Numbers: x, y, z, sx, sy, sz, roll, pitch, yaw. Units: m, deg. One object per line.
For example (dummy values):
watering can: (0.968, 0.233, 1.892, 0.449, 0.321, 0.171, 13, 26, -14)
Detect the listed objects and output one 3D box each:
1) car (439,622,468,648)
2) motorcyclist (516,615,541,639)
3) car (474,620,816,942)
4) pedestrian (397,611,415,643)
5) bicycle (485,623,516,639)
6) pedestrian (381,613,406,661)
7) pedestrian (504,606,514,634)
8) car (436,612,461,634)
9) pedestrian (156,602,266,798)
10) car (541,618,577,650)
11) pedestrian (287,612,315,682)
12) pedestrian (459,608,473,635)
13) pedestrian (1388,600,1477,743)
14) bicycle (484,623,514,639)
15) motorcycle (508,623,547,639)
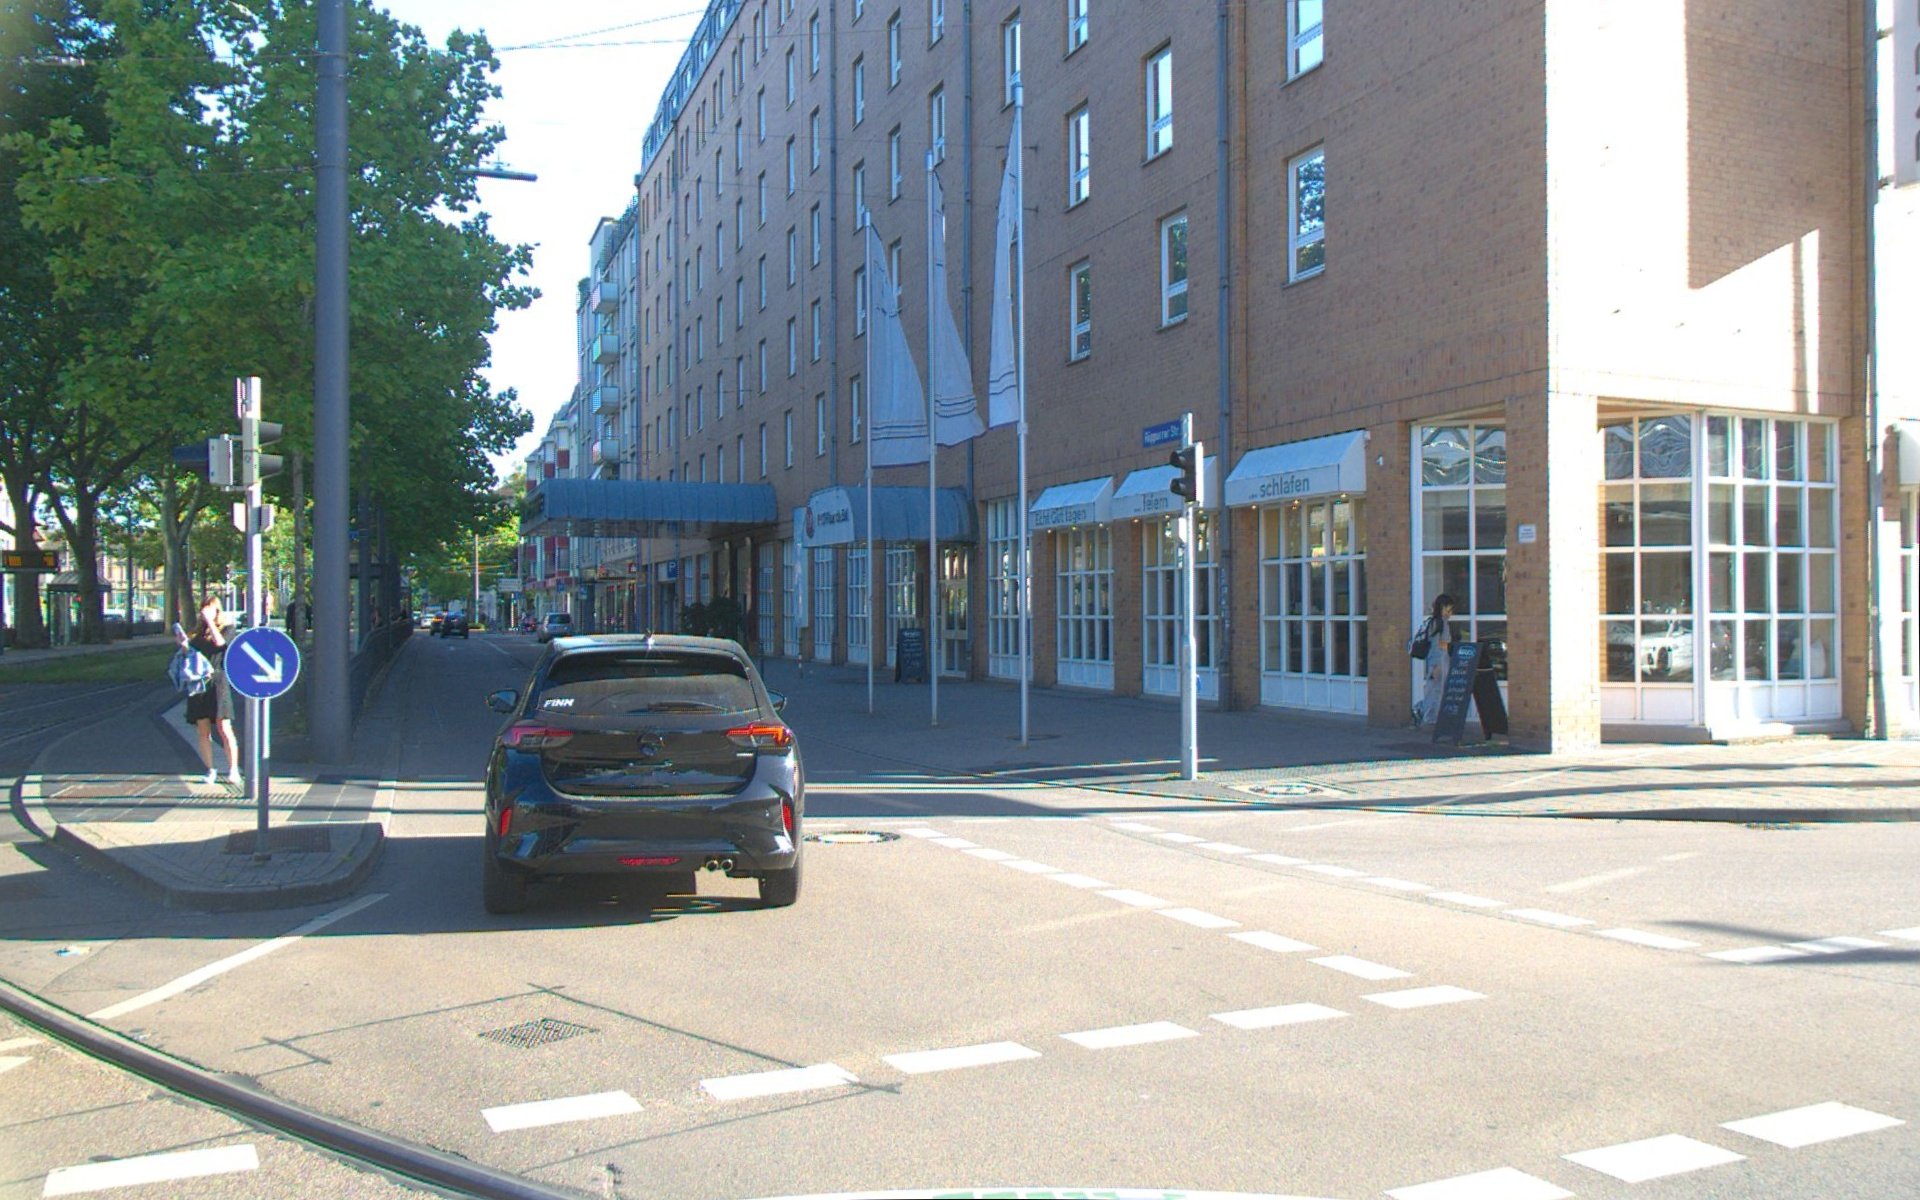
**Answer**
car: (-30.755, 2.137, 100.378, 1.589, 1.528, 3.670, 1, -1, -19)
motorcyclist: (-31.587, 1.945, 121.092, 1.215, 1.728, 1.301, 0, -1, 42)
car: (-1.852, 0.895, 9.923, 1.641, 1.528, 3.681, 0, -1, -10)
pedestrian: (-25.460, 1.232, 75.985, 0.712, 1.470, 0.622, 1, -1, -22)
bicycle: (-37.131, 2.511, 133.657, 2.318, 1.255, 0.680, 1, -1, -17)
pedestrian: (-17.780, 1.160, 51.920, 0.712, 1.470, 0.622, 1, -1, -22)
pedestrian: (-48.170, 2.134, 176.573, 0.903, 2.922, 1.144, 1, -1, -19)
car: (-36.861, 1.665, 119.157, 1.589, 1.528, 3.670, 1, -1, -19)
pedestrian: (-6.801, 0.886, 15.051, 0.701, 1.709, 0.829, -1, -1, -10)
car: (-21.674, 1.816, 89.268, 1.645, 1.681, 3.672, 1, -1, -17)
pedestrian: (-16.361, 1.163, 41.070, 0.595, 1.709, 0.484, -1, -1, -19)
pedestrian: (-54.443, 2.367, 182.410, 0.902, 2.922, 1.145, -1, -1, 38)
pedestrian: (5.740, 0.855, 20.095, 0.729, 1.695, 0.748, 0, -1, -23)
bicycle: (-36.791, 2.471, 131.927, 2.318, 1.255, 0.680, 1, -1, -17)
motorcycle: (-31.663, 2.257, 121.158, 3.042, 1.077, 1.301, 0, -1, 42)
